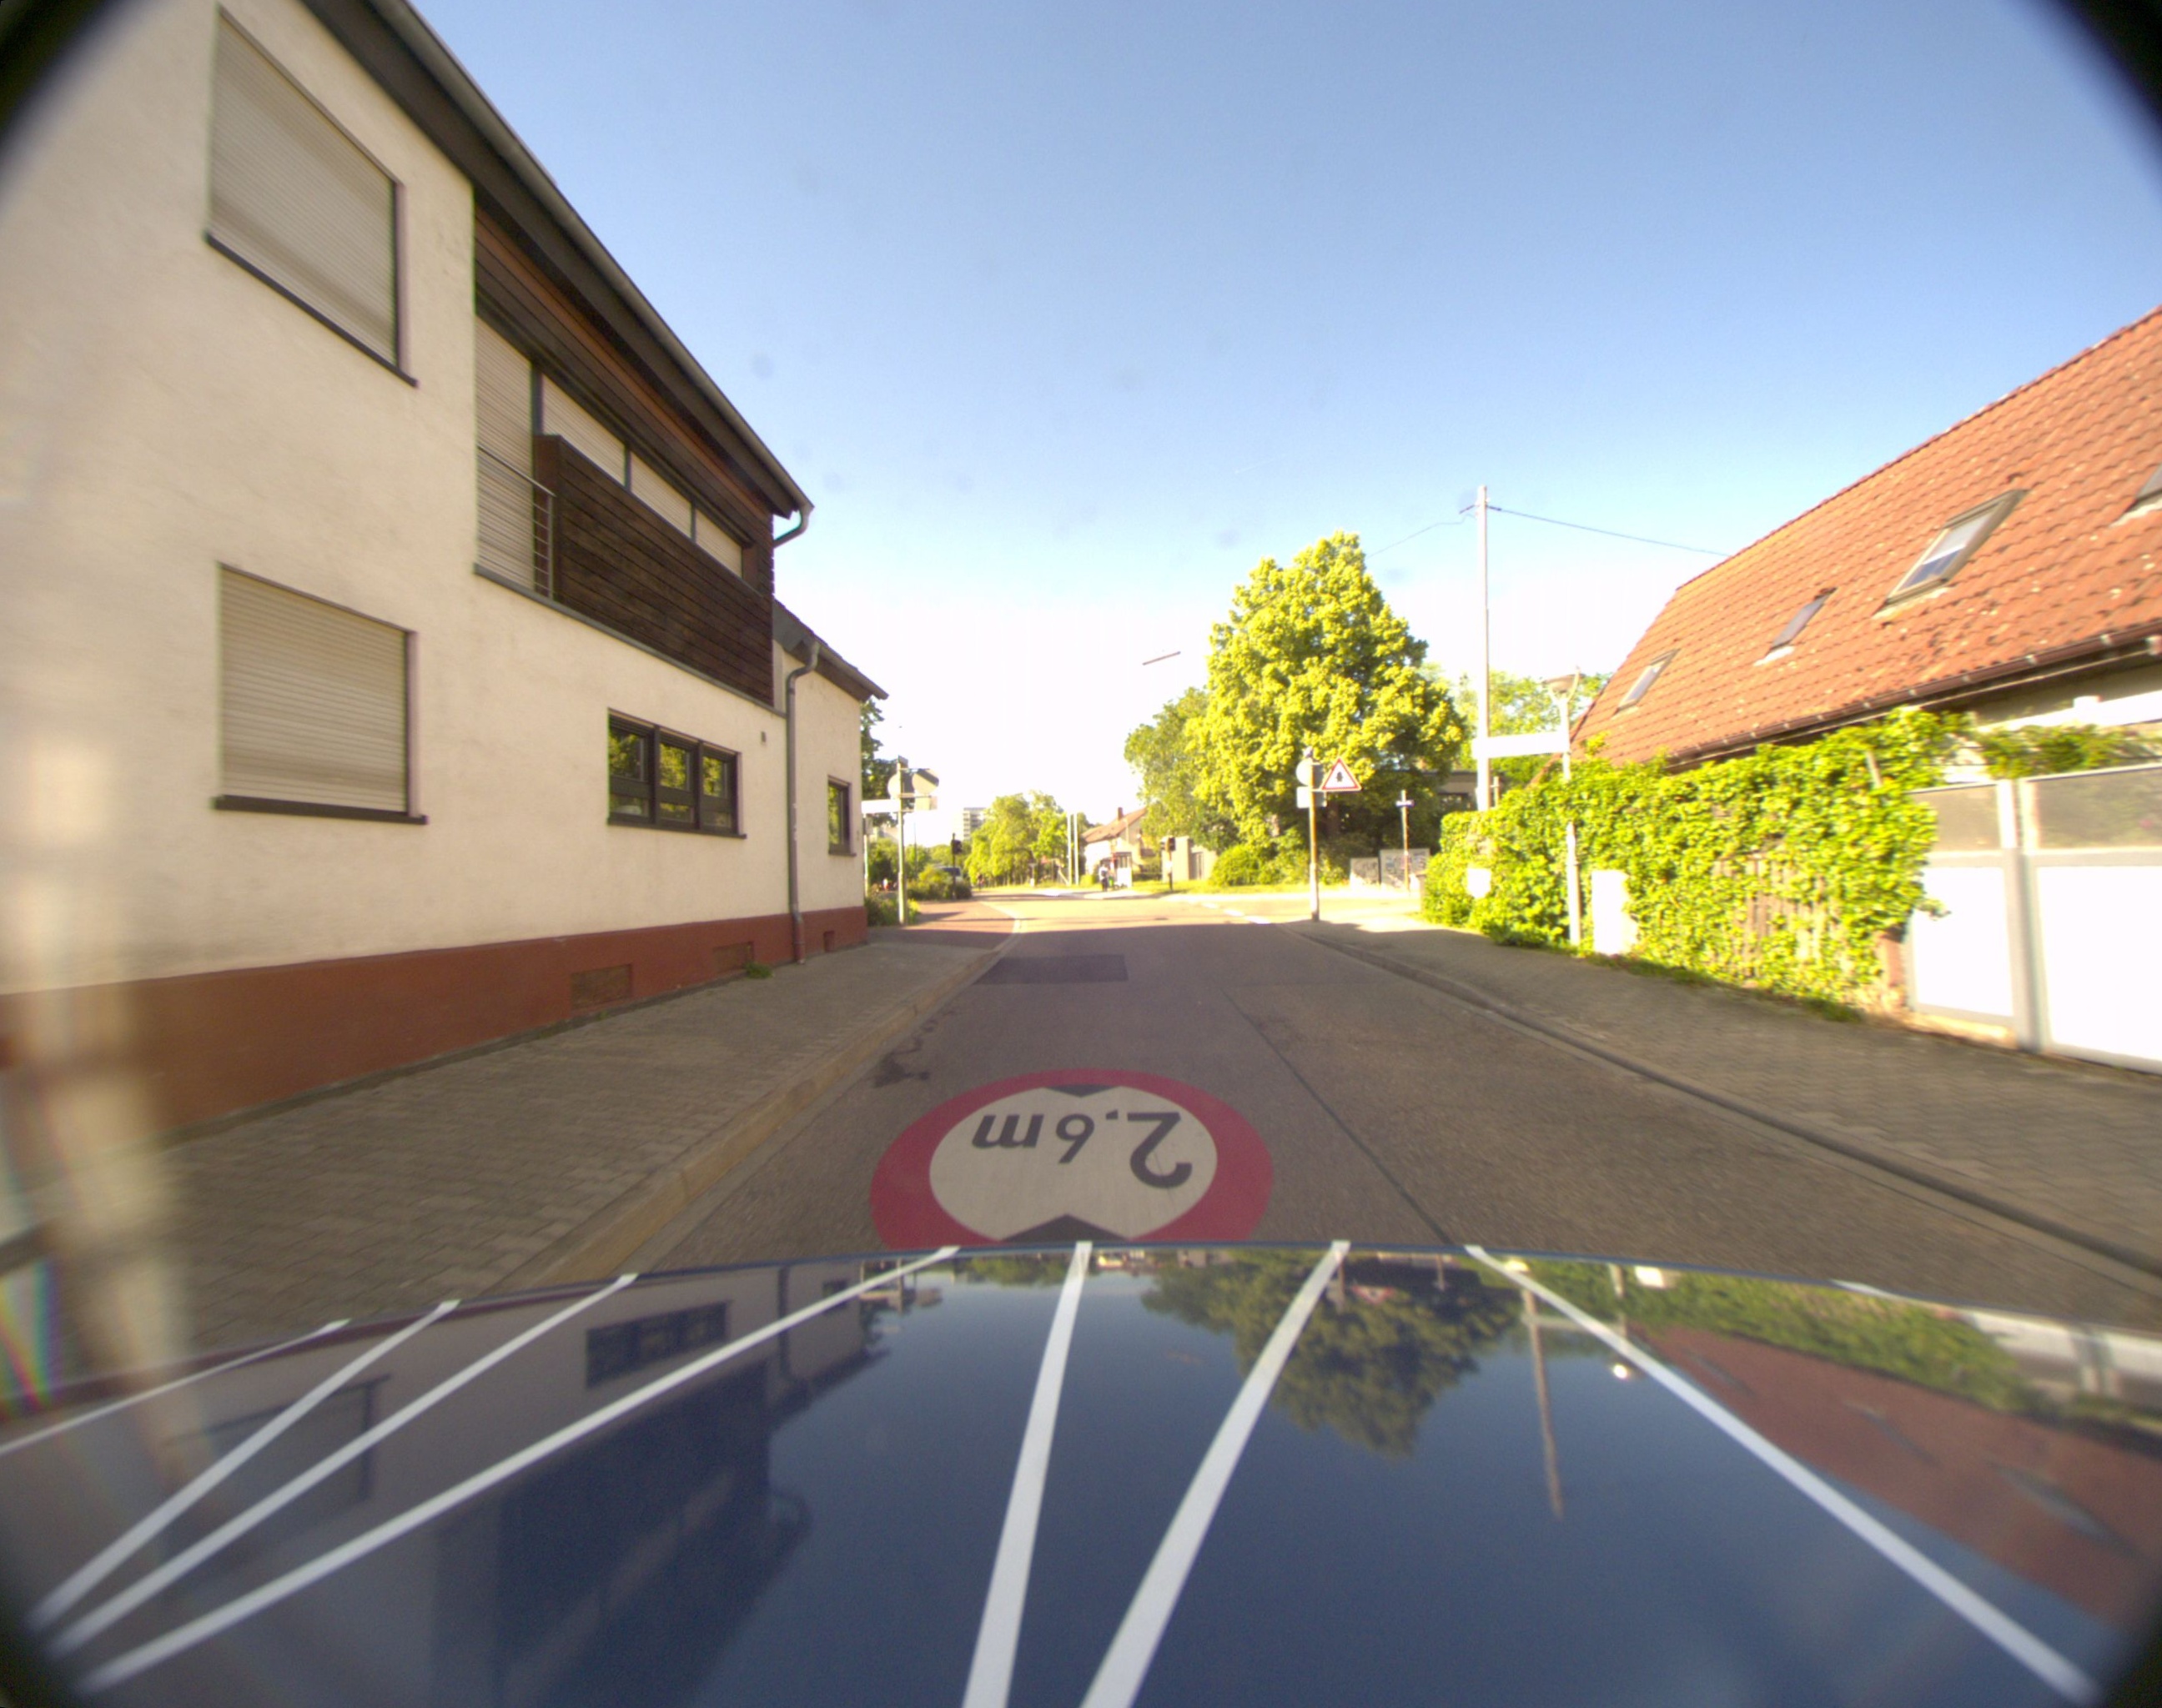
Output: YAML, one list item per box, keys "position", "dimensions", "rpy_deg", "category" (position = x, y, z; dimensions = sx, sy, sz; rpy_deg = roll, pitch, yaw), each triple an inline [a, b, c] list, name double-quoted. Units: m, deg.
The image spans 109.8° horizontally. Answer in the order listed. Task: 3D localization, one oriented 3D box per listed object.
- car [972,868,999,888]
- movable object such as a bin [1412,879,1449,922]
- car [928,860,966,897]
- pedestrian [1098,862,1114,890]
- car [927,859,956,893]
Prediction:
- position: [-9.596, 2.372, 76.072]
  dimensions: [1.967, 1.908, 4.572]
  rpy_deg: [-2, -1, -16]
  category: "car"
- position: [7.803, 1.030, 16.966]
  dimensions: [0.557, 0.919, 0.626]
  rpy_deg: [-2, -1, 7]
  category: "movable object such as a bin"
- position: [-7.955, 1.436, 45.602]
  dimensions: [2.000, 2.066, 4.575]
  rpy_deg: [-2, -1, -8]
  category: "car"
- position: [1.692, 1.506, 52.013]
  dimensions: [0.716, 1.792, 0.772]
  rpy_deg: [-3, 1, 28]
  category: "pedestrian"
- position: [-11.951, 1.903, 65.056]
  dimensions: [1.964, 2.628, 5.218]
  rpy_deg: [-3, -1, -15]
  category: "car"
